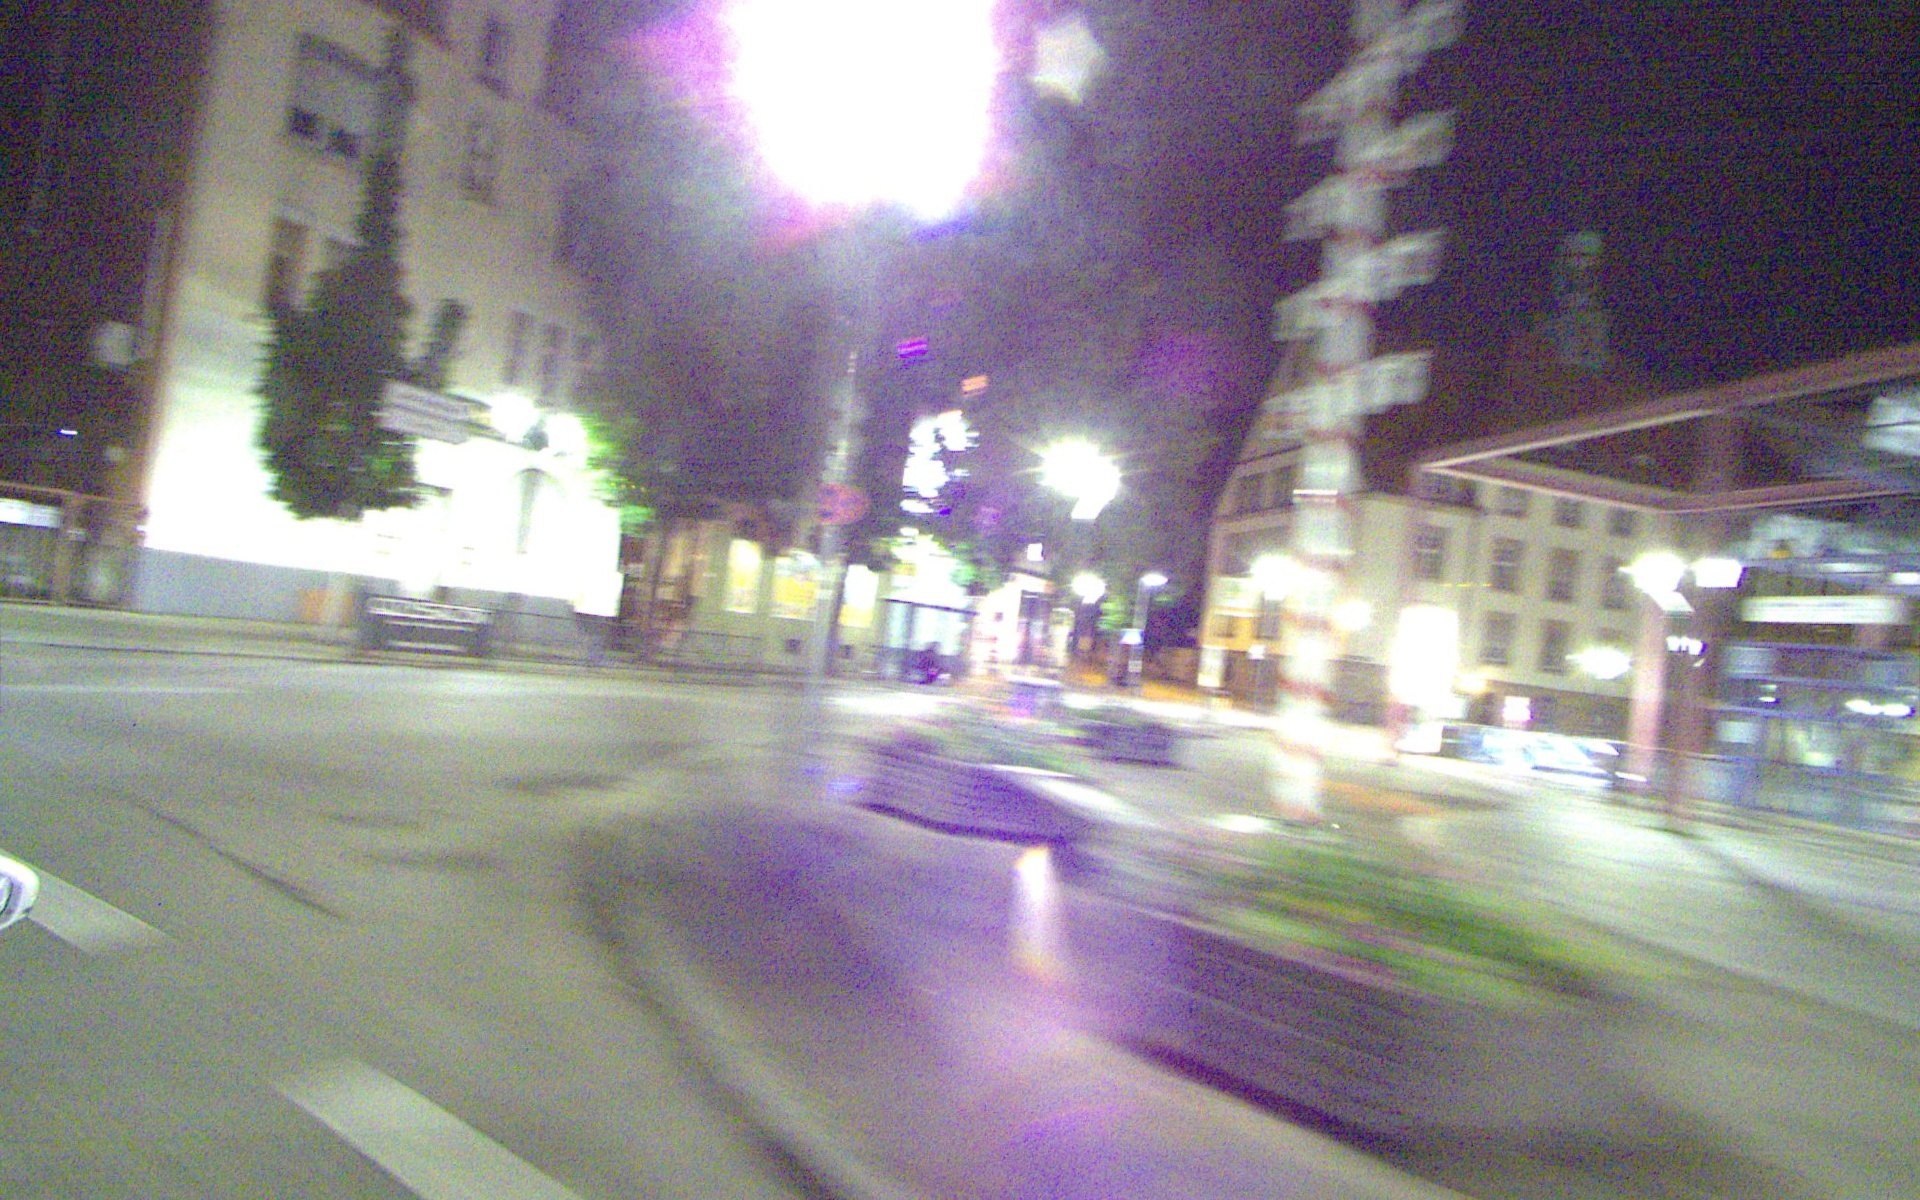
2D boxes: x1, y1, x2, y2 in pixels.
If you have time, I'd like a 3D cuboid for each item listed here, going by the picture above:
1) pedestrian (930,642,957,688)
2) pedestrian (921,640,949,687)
[{"bbox_3d":[-0.495,1.954,30.430,0.506,1.314,0.465,7,-1,34],"label":"pedestrian"},{"bbox_3d":[-0.757,1.901,30.033,0.506,1.314,0.465,7,-1,34],"label":"pedestrian"}]
